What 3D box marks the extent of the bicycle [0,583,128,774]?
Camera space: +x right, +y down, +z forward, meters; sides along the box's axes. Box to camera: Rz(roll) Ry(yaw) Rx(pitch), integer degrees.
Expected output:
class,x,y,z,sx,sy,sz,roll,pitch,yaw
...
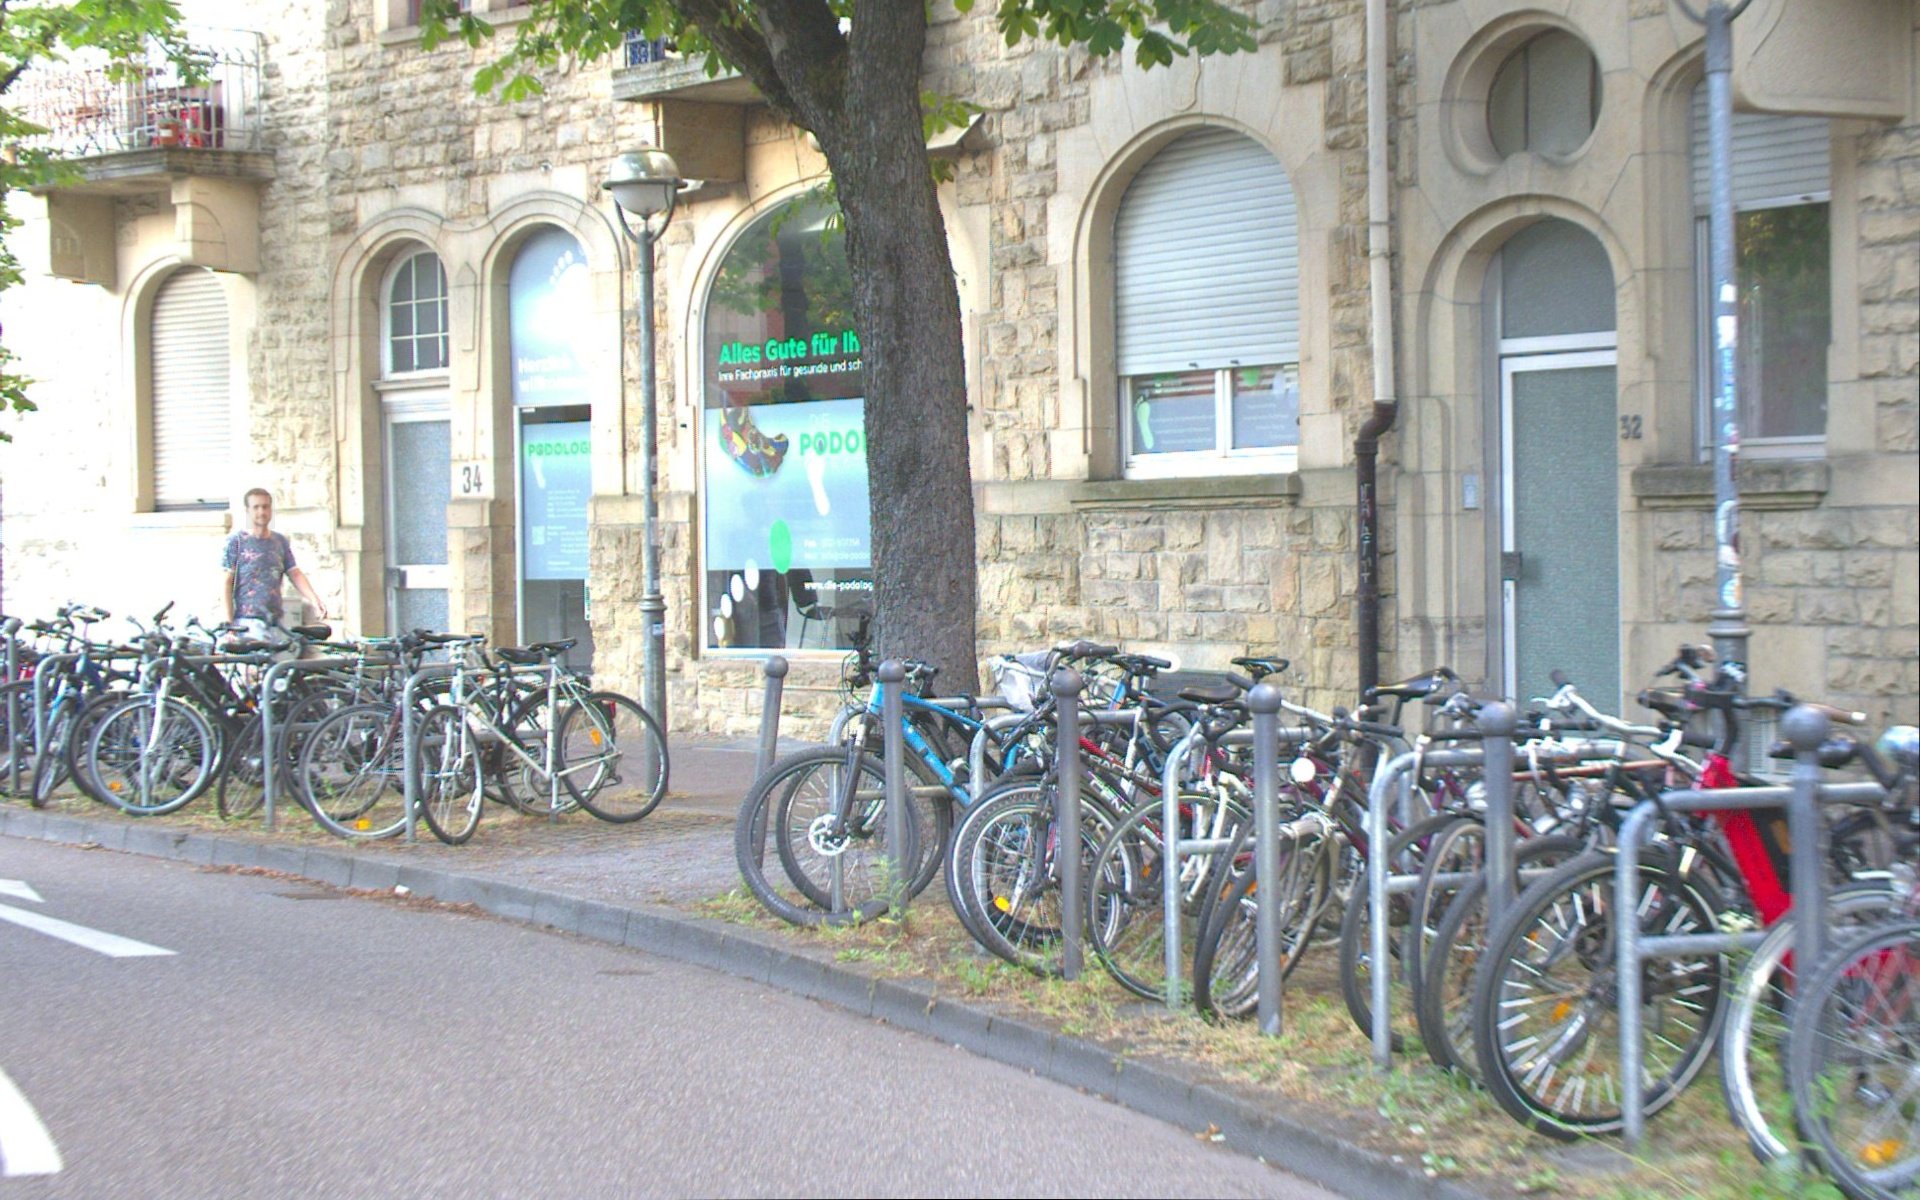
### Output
class,x,y,z,sx,sy,sz,roll,pitch,yaw
bicycle,-6.512,0.523,22.882,0.699,1.232,1.789,0,1,42

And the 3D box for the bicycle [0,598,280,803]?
class,x,y,z,sx,sy,sz,roll,pitch,yaw
bicycle,-5.158,0.589,21.130,0.640,1.158,1.887,0,1,42

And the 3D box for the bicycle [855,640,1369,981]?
class,x,y,z,sx,sy,sz,roll,pitch,yaw
bicycle,0.566,0.745,12.584,1.849,1.140,0.419,-1,1,-21

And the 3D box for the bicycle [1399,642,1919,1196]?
class,x,y,z,sx,sy,sz,roll,pitch,yaw
bicycle,2.057,0.719,8.307,1.914,1.196,0.553,-1,1,-19

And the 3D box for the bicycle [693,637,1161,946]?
class,x,y,z,sx,sy,sz,roll,pitch,yaw
bicycle,-0.113,0.740,13.857,1.879,1.136,0.492,0,4,-34

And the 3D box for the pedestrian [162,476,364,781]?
class,x,y,z,sx,sy,sz,roll,pitch,yaw
pedestrian,-4.924,0.173,24.278,1.011,2.078,1.060,-2,2,-35

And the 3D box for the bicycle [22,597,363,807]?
class,x,y,z,sx,sy,sz,roll,pitch,yaw
bicycle,-4.591,0.588,20.636,1.886,1.158,0.640,-2,1,-37

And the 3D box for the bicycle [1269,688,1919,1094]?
class,x,y,z,sx,sy,sz,roll,pitch,yaw
bicycle,1.806,0.783,9.576,1.849,1.011,0.419,-1,1,-17

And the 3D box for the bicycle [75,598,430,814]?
class,x,y,z,sx,sy,sz,roll,pitch,yaw
bicycle,-4.110,0.593,20.046,1.886,1.158,0.704,-2,1,-37

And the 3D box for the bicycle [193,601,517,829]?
class,x,y,z,sx,sy,sz,roll,pitch,yaw
bicycle,-3.325,0.615,18.920,1.670,1.124,0.486,-2,7,-30

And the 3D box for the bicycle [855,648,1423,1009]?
class,x,y,z,sx,sy,sz,roll,pitch,yaw
bicycle,0.633,0.795,12.179,1.849,1.126,0.419,-1,-18,-21

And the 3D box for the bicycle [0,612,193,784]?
class,x,y,z,sx,sy,sz,roll,pitch,yaw
bicycle,-5.931,0.625,22.239,0.699,1.034,1.802,0,1,42

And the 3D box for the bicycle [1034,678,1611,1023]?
class,x,y,z,sx,sy,sz,roll,pitch,yaw
bicycle,1.182,0.783,11.101,1.849,0.996,0.419,-1,1,-21

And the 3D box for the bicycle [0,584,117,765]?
class,x,y,z,sx,sy,sz,roll,pitch,yaw
bicycle,-6.842,0.524,24.014,0.650,1.232,1.789,0,1,41

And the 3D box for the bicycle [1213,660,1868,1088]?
class,x,y,z,sx,sy,sz,roll,pitch,yaw
bicycle,1.674,0.759,9.875,1.849,1.113,0.419,-1,1,-17

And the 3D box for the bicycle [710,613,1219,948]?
class,x,y,z,sx,sy,sz,roll,pitch,yaw
bicycle,0.023,0.696,13.440,1.878,1.213,0.492,-1,-5,-21

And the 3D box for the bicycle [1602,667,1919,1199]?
class,x,y,z,sx,sy,sz,roll,pitch,yaw
bicycle,2.345,0.734,7.628,1.790,1.164,0.448,-1,1,-17

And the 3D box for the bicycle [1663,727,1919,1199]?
class,x,y,z,sx,sy,sz,roll,pitch,yaw
bicycle,2.394,0.799,7.220,1.790,1.060,0.448,-1,1,-17

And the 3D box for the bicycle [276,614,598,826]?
class,x,y,z,sx,sy,sz,roll,pitch,yaw
bicycle,-2.857,0.641,18.856,1.670,1.074,0.486,-2,1,-31

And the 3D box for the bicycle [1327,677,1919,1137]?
class,x,y,z,sx,sy,sz,roll,pitch,yaw
bicycle,1.961,0.769,9.047,1.914,1.061,0.553,-1,1,-19

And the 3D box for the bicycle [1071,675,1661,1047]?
class,x,y,z,sx,sy,sz,roll,pitch,yaw
bicycle,1.291,0.796,10.831,1.849,1.048,0.419,-1,1,-21

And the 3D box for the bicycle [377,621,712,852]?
class,x,y,z,sx,sy,sz,roll,pitch,yaw
bicycle,-2.101,0.673,17.504,1.670,1.074,0.486,-2,1,-38

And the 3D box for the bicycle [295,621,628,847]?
class,x,y,z,sx,sy,sz,roll,pitch,yaw
bicycle,-2.564,0.670,17.795,1.670,1.074,0.486,-2,1,-38

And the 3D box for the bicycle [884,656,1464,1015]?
class,x,y,z,sx,sy,sz,roll,pitch,yaw
bicycle,0.741,0.801,11.924,1.849,1.088,0.419,-1,-18,-21

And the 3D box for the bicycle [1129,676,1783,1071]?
class,x,y,z,sx,sy,sz,roll,pitch,yaw
bicycle,1.507,0.794,10.393,1.914,1.057,0.535,-1,1,-20

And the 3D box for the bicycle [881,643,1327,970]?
class,x,y,z,sx,sy,sz,roll,pitch,yaw
bicycle,0.579,0.750,13.148,1.850,1.100,0.573,-2,1,-44
